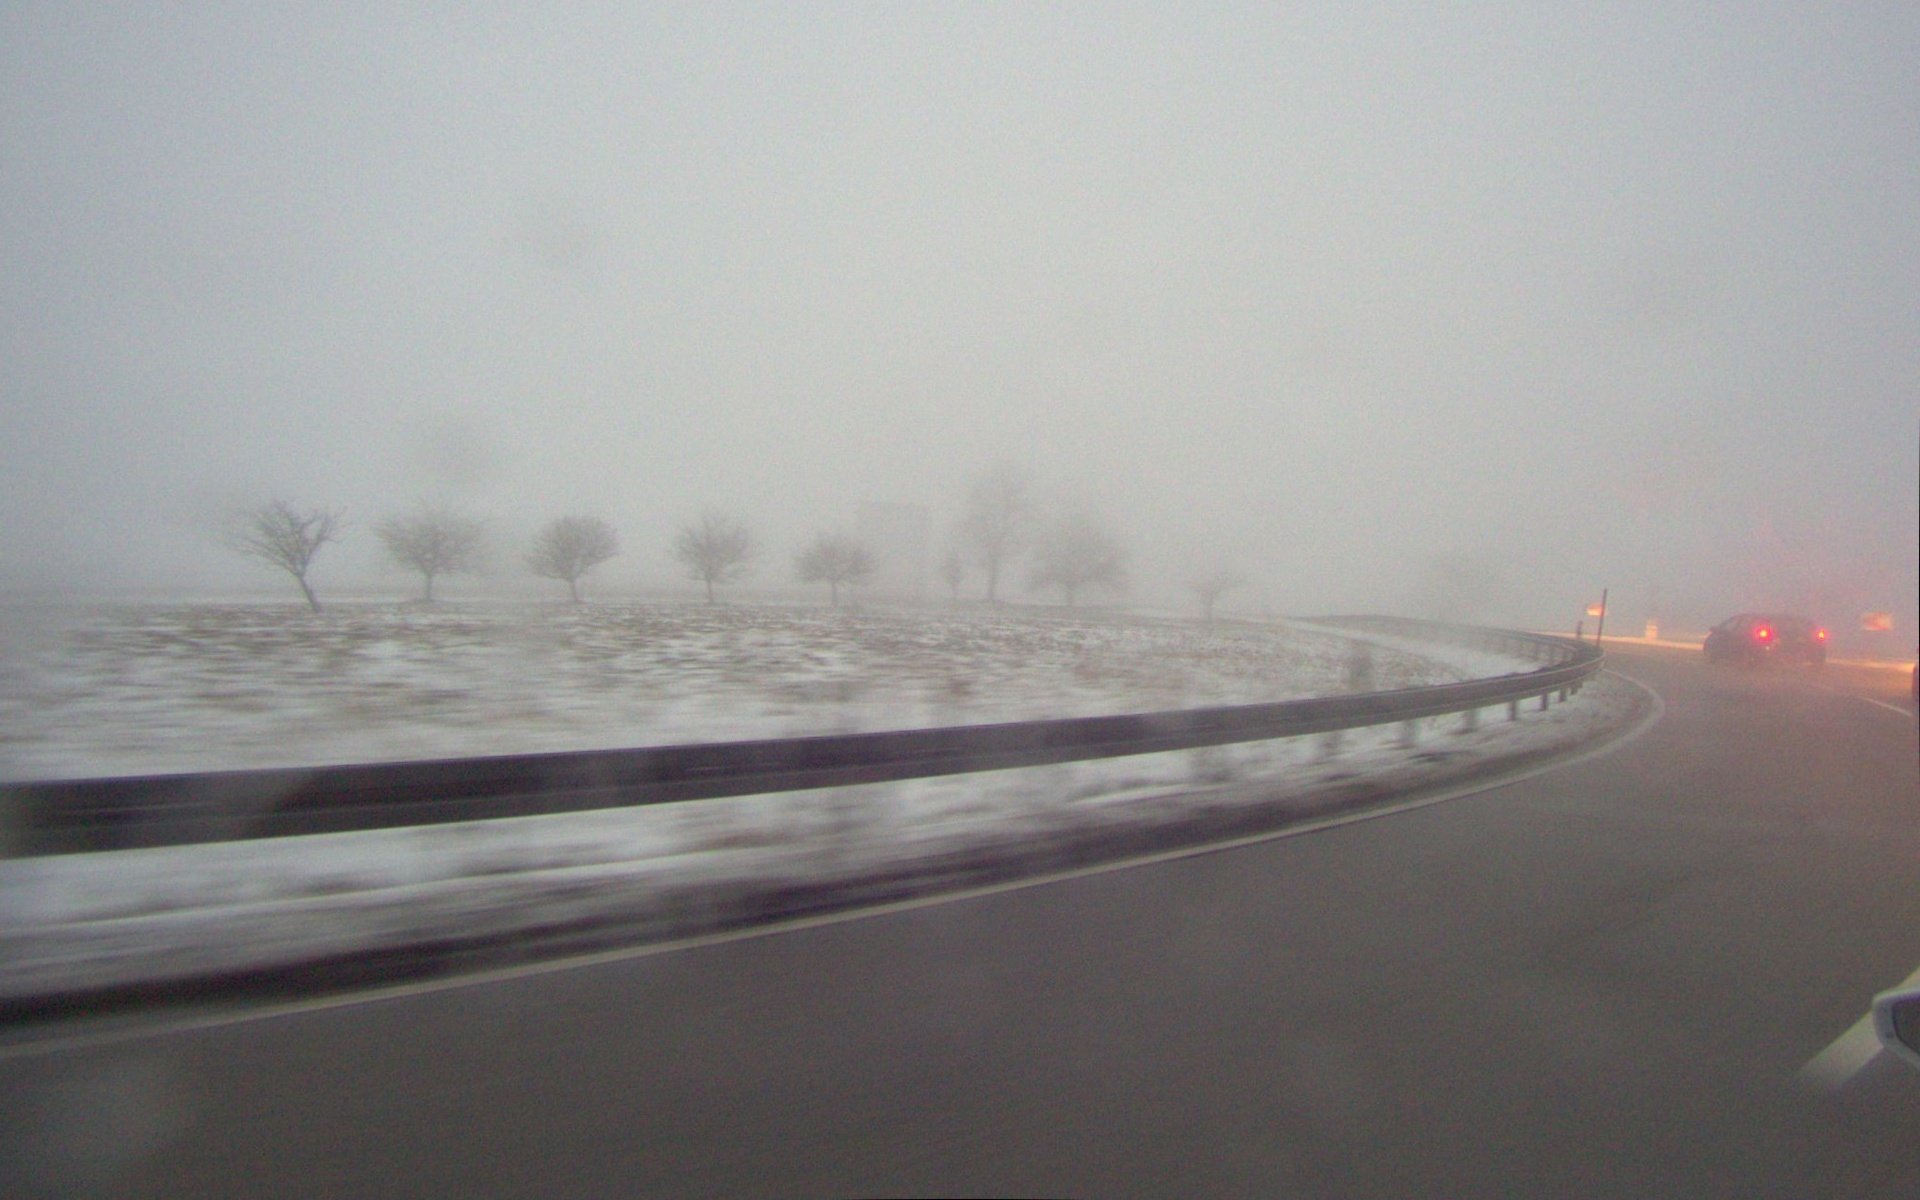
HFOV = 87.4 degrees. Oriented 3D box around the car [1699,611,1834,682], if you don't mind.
[{"bbox_3d":[22.480,1.229,28.177,1.962,1.806,3.997,0,-1,24],"label":"car"}]
